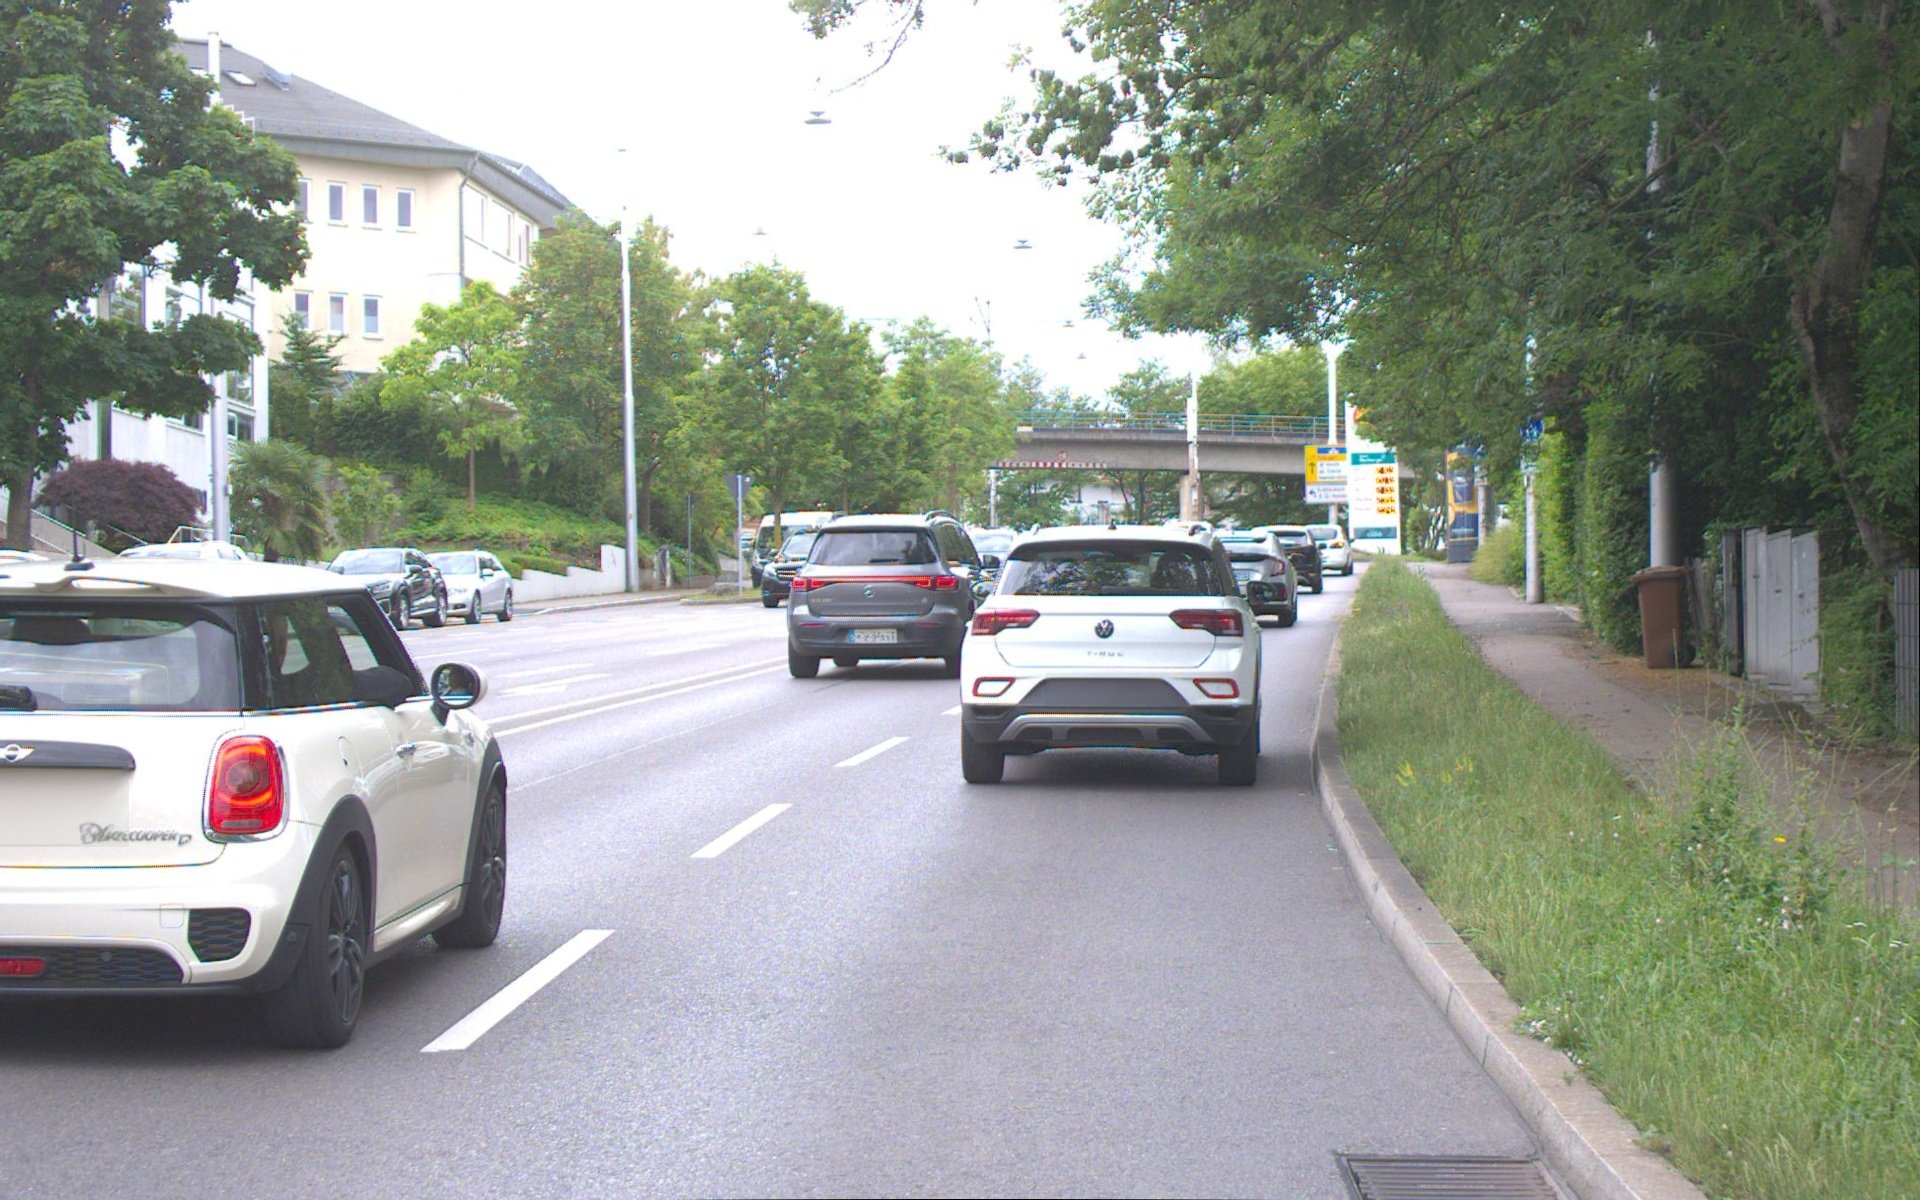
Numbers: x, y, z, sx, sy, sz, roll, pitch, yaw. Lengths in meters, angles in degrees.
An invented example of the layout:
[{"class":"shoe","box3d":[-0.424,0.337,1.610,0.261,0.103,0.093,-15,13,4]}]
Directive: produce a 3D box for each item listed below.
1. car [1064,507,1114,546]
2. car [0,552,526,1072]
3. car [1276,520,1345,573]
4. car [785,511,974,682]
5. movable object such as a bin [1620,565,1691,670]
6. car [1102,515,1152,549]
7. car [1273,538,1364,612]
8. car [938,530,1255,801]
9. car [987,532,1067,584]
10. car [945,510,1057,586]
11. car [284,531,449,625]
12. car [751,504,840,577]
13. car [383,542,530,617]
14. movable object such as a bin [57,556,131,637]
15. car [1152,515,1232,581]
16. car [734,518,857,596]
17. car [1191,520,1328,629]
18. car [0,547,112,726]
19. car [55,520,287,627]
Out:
[{"class":"car","box3d":[5.241,-2.985,139.620,1.896,1.536,4.692,0,1,4]},{"class":"car","box3d":[-2.566,0.561,11.197,1.628,1.388,3.566,-1,1,4]},{"class":"car","box3d":[10.213,-1.572,100.294,1.858,1.495,4.055,-1,1,4]},{"class":"car","box3d":[-0.901,-0.081,35.960,1.812,1.646,4.637,-1,1,-3]},{"class":"movable object such as a bin","box3d":[6.387,0.152,31.567,0.555,0.944,0.567,0,1,3]},{"class":"car","box3d":[7.543,-3.079,155.754,1.858,1.495,4.056,-1,1,-3]},{"class":"car","box3d":[7.921,-0.545,75.786,1.873,1.496,4.554,3,0,6]},{"class":"car","box3d":[0.899,0.343,21.670,1.812,1.534,3.689,-1,1,4]},{"class":"car","box3d":[1.809,-1.134,91.502,1.741,1.348,4.845,0,1,6]},{"class":"car","box3d":[0.935,-1.135,74.607,1.771,1.591,5.182,0,1,8]},{"class":"car","box3d":[-10.611,-0.421,61.714,1.771,1.628,3.914,0,1,9]},{"class":"car","box3d":[-5.243,-1.919,110.233,2.069,2.298,5.464,0,1,6]},{"class":"car","box3d":[-9.852,-0.427,67.559,1.771,1.402,4.141,0,1,8]},{"class":"movable object such as a bin","box3d":[-10.676,-0.048,42.394,0.645,0.986,0.660,1,1,15]},{"class":"car","box3d":[6.055,-1.364,89.361,1.858,1.646,4.635,-1,1,7]},{"class":"car","box3d":[-3.490,-0.933,73.475,1.771,1.628,4.141,0,1,10]},{"class":"car","box3d":[4.508,-0.382,52.283,1.873,1.496,4.554,3,0,3]},{"class":"car","box3d":[-8.395,0.283,27.208,1.843,1.388,4.283,0,1,7]},{"class":"car","box3d":[-11.432,-0.413,50.130,1.771,1.493,4.303,0,1,10]}]
